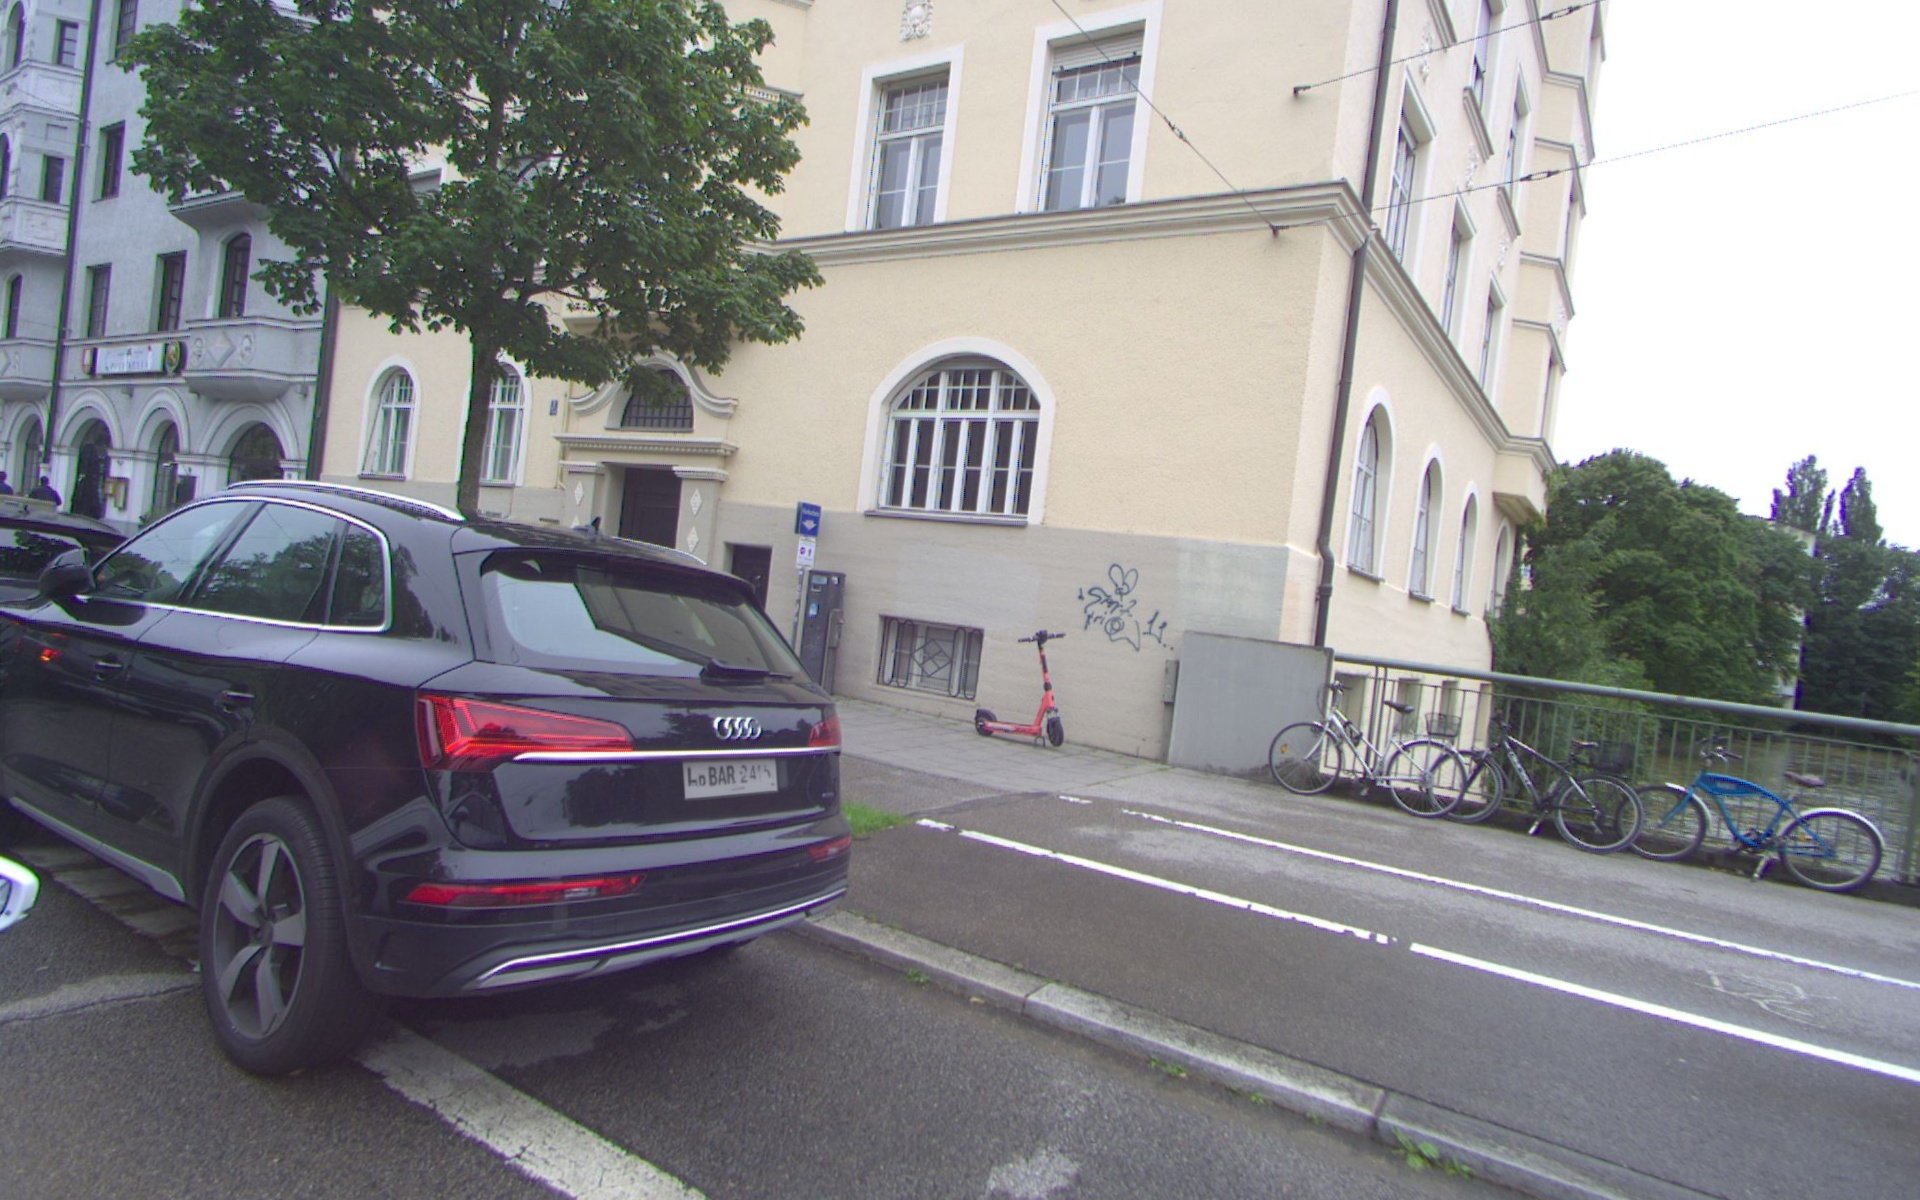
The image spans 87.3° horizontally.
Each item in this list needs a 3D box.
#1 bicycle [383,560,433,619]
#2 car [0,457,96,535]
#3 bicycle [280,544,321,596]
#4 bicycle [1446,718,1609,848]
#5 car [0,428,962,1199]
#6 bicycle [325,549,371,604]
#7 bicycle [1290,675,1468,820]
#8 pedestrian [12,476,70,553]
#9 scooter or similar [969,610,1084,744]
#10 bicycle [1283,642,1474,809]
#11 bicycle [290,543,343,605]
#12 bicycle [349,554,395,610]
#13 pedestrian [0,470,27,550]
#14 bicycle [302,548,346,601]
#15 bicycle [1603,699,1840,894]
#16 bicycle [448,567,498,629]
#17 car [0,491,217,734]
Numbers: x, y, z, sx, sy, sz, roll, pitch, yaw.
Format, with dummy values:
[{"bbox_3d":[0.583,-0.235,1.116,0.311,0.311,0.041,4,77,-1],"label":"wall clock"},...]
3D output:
[{"bbox_3d":[-9.792,-0.195,17.839,0.871,0.941,0.285,7,-1,33],"label":"bicycle"},{"bbox_3d":[-39.090,-4.459,40.929,2.192,2.642,5.310,7,-2,29],"label":"car"},{"bbox_3d":[-13.204,-0.610,20.144,0.871,0.941,0.259,7,-1,33],"label":"bicycle"},{"bbox_3d":[4.920,1.579,8.761,1.122,0.948,0.249,6,3,10],"label":"bicycle"},{"bbox_3d":[-2.406,0.351,4.093,4.414,1.677,1.777,7,-1,32],"label":"car"},{"bbox_3d":[-11.641,-0.451,19.134,0.871,0.941,0.306,7,-1,33],"label":"bicycle"},{"bbox_3d":[3.931,1.361,9.491,1.417,1.119,0.287,7,0,24],"label":"bicycle"},{"bbox_3d":[-22.639,-2.101,24.783,0.829,1.752,0.706,7,-1,32],"label":"pedestrian"},{"bbox_3d":[0.728,0.836,11.170,1.123,1.328,0.261,7,-1,32],"label":"scooter or similar"},{"bbox_3d":[3.964,1.159,9.577,1.511,1.327,0.332,7,-1,30],"label":"bicycle"},{"bbox_3d":[-12.155,-0.497,18.992,1.203,1.051,0.242,7,-1,32],"label":"bicycle"},{"bbox_3d":[-10.869,-0.342,18.581,0.871,0.941,0.273,7,-1,33],"label":"bicycle"},{"bbox_3d":[-23.175,-2.204,24.196,0.855,1.838,0.706,7,-1,32],"label":"pedestrian"},{"bbox_3d":[-12.427,-0.507,19.660,0.871,0.941,0.291,7,-1,33],"label":"bicycle"},{"bbox_3d":[6.092,1.545,8.107,1.384,1.297,0.283,7,-1,20],"label":"bicycle"},{"bbox_3d":[-8.169,-0.038,16.868,0.871,0.941,0.222,7,-1,31],"label":"bicycle"},{"bbox_3d":[-7.538,-0.120,7.326,4.525,1.442,1.719,7,-2,31],"label":"car"}]
